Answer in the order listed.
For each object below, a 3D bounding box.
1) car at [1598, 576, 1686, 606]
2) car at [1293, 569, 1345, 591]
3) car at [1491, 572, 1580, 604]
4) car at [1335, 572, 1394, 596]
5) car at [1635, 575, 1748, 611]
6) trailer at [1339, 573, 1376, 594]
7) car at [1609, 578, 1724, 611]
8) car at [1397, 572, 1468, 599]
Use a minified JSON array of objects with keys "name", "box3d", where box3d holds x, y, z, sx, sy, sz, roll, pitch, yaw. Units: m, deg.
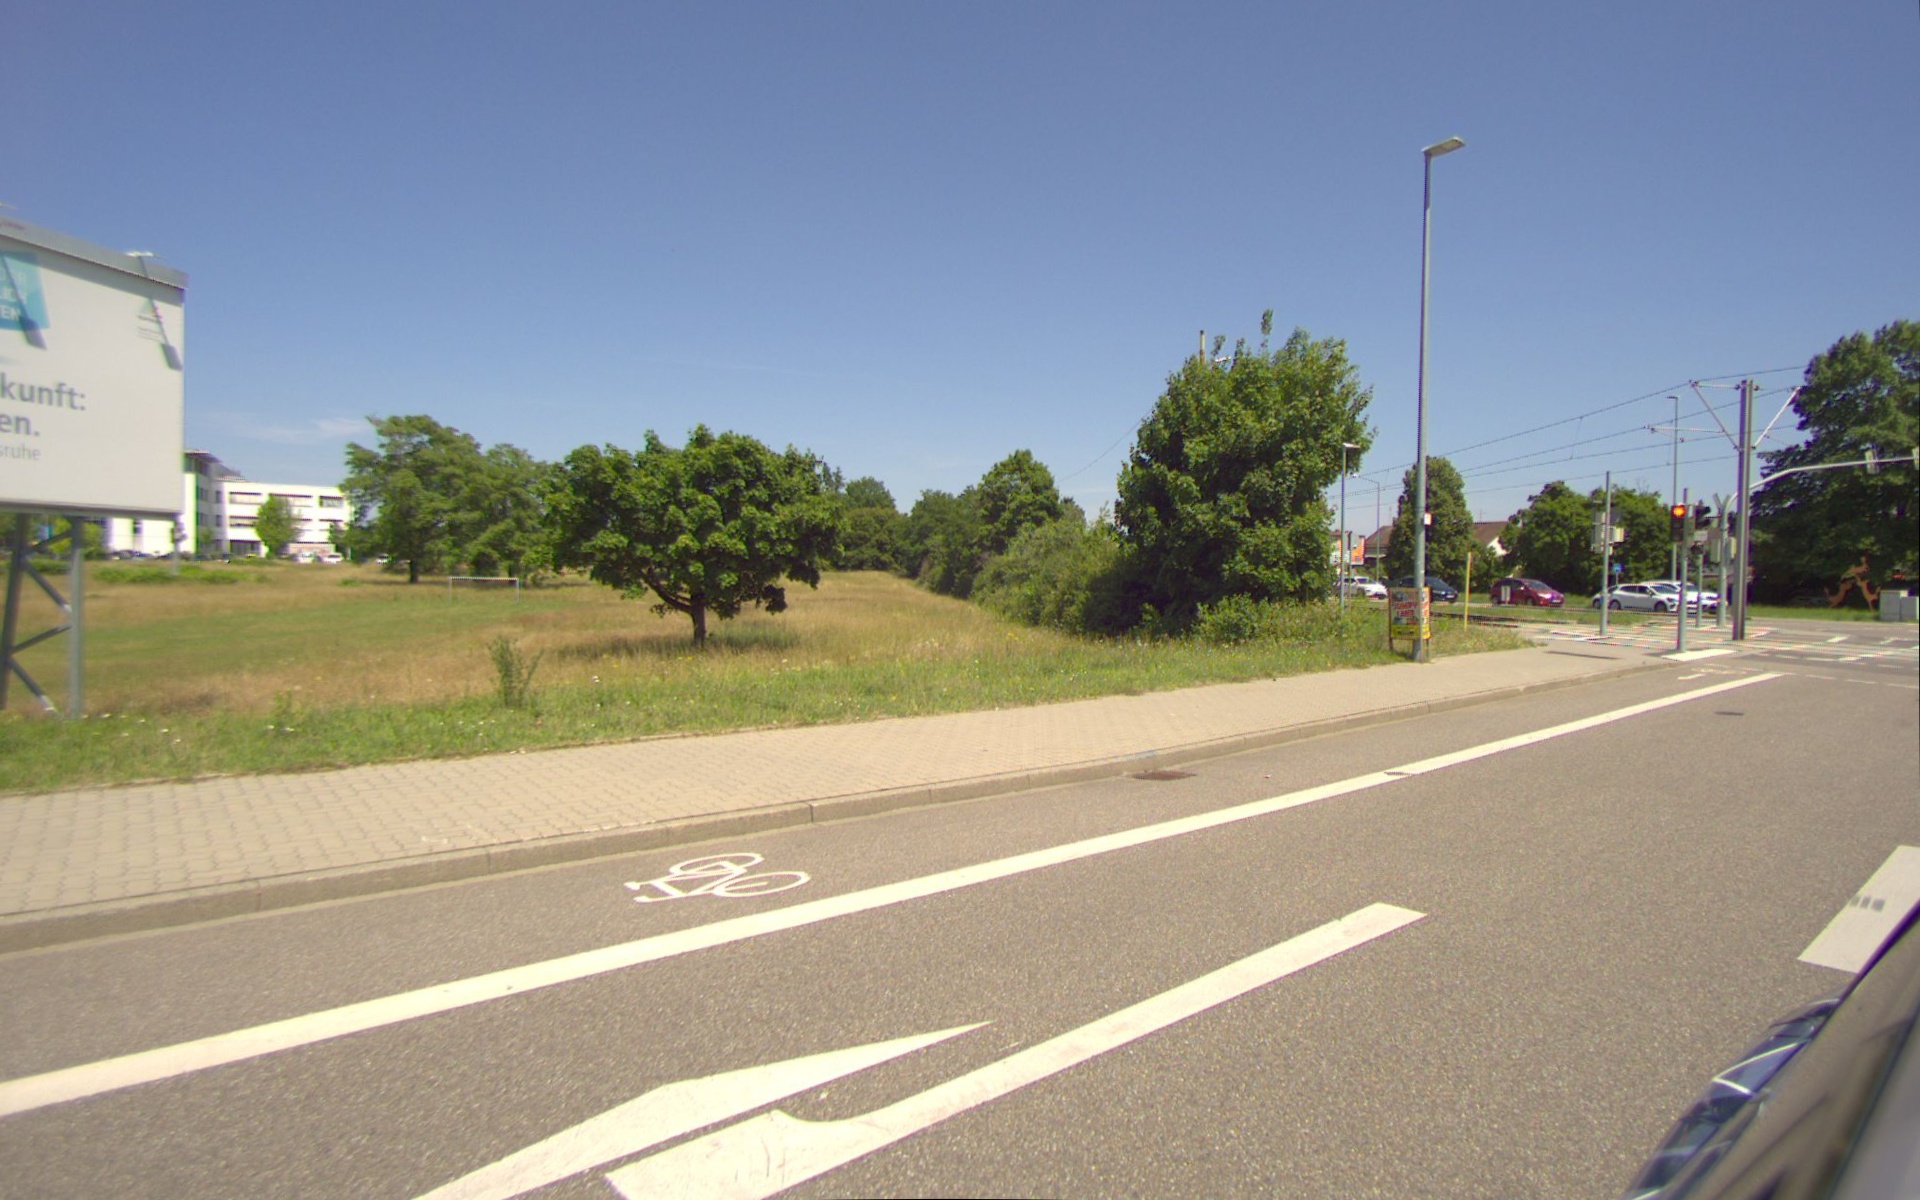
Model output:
[{"name":"car","box3d":[37.901,-0.519,56.348,1.695,1.523,3.907,2,2,-12]},{"name":"car","box3d":[27.447,-1.530,77.540,1.836,1.595,4.420,2,1,-9]},{"name":"car","box3d":[31.475,-0.690,55.484,1.836,1.595,4.420,2,1,-9]},{"name":"car","box3d":[28.227,-1.137,70.764,1.695,1.595,4.420,2,1,-9]},{"name":"car","box3d":[35.770,-0.392,49.625,1.836,1.595,4.420,2,1,-9]},{"name":"trailer","box3d":[32.508,-1.376,82.853,1.379,1.675,2.944,2,1,-10]},{"name":"car","box3d":[33.078,-0.285,47.539,1.836,1.406,4.420,2,1,-9]},{"name":"car","box3d":[29.679,-0.957,63.759,1.836,1.595,4.420,2,1,-9]}]
